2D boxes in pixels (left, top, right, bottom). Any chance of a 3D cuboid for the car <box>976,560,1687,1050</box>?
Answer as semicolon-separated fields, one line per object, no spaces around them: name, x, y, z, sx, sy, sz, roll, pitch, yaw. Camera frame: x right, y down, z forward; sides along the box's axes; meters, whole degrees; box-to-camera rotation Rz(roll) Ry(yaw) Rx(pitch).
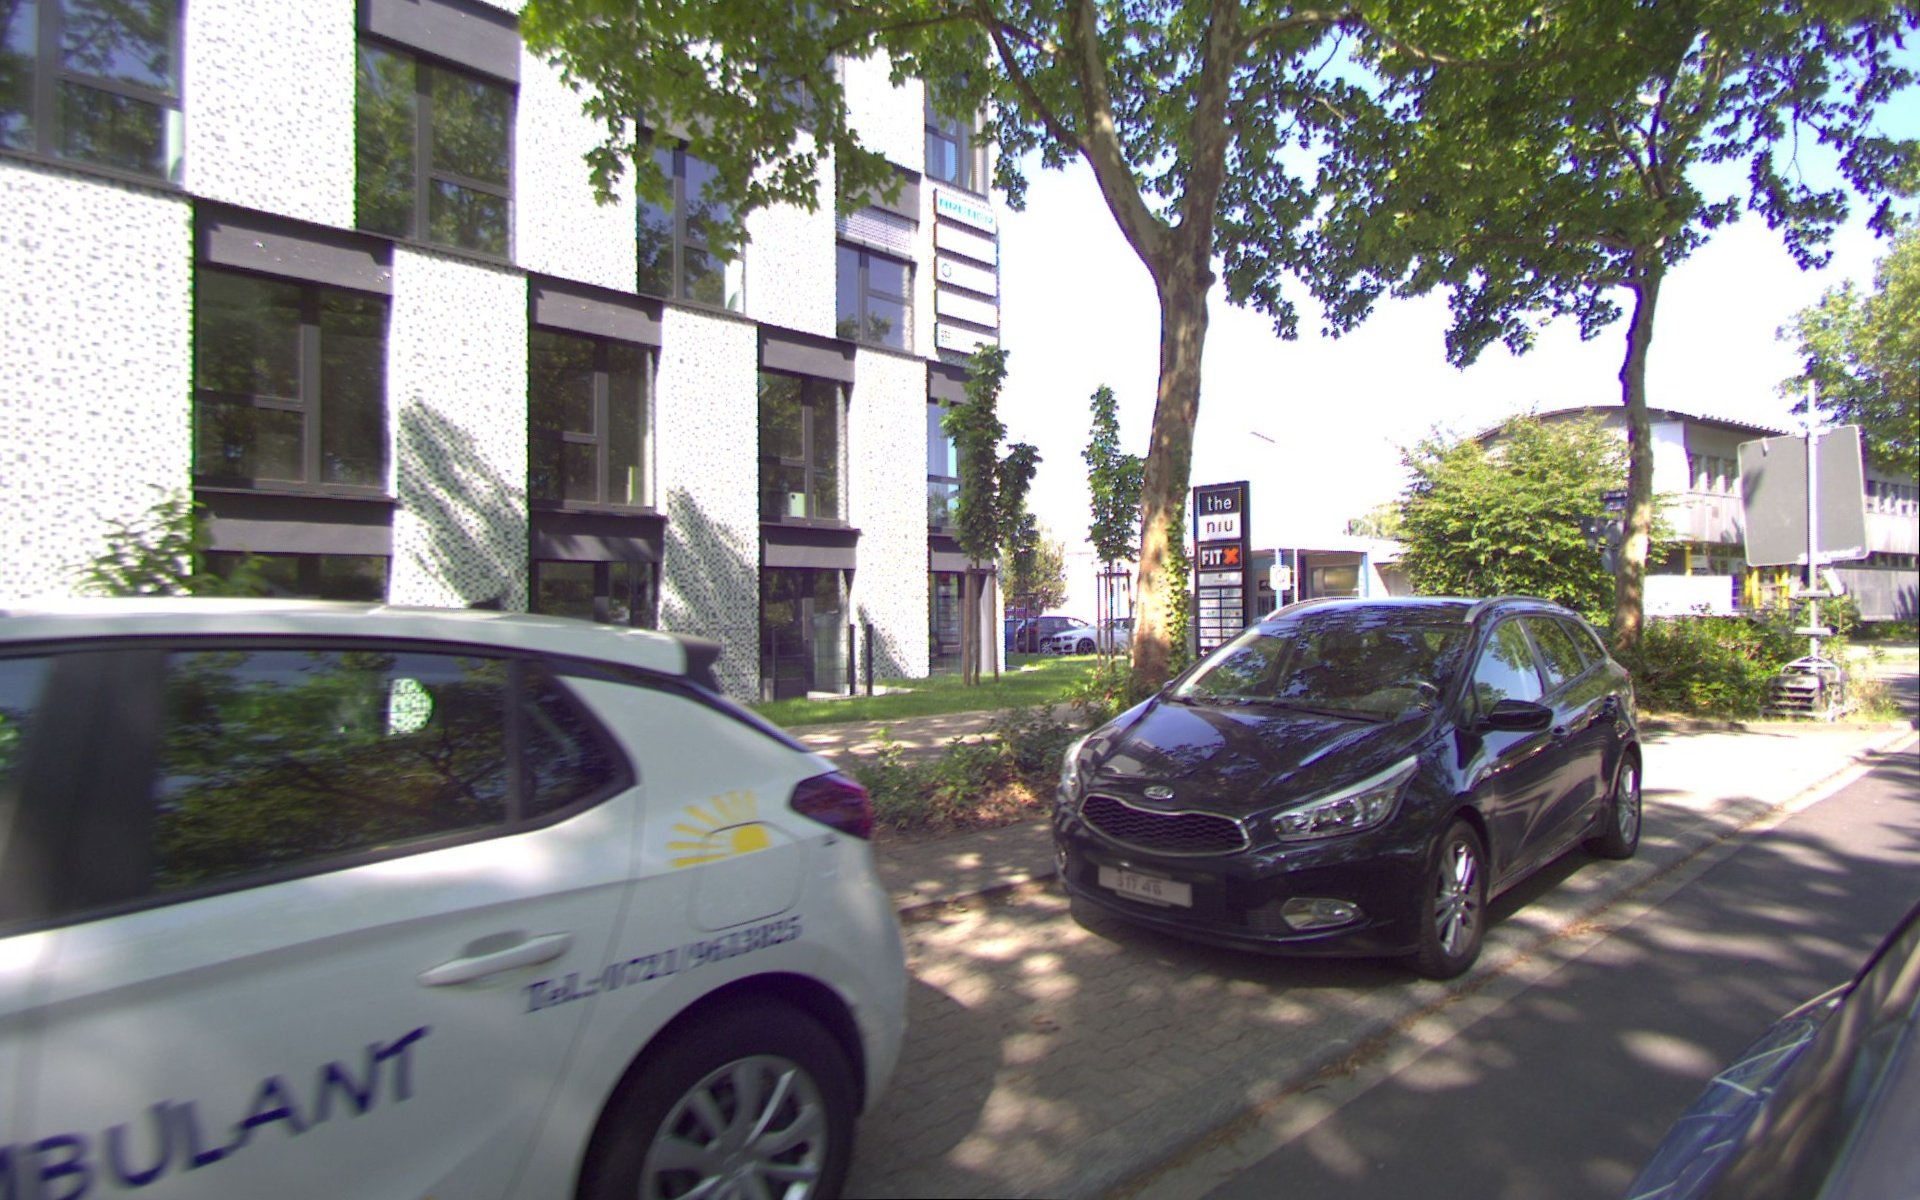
car;2.321;0.628;5.360;4.641;1.506;1.708;0;0;-44

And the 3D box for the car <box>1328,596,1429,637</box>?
car;18.356;0.717;44.521;3.679;1.683;1.680;-1;-1;2

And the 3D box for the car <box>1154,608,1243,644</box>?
car;10.653;1.185;45.517;1.958;1.572;4.006;1;-2;-22

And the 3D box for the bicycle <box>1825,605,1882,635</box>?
bicycle;35.906;0.792;40.705;0.498;1.144;1.679;0;1;-21

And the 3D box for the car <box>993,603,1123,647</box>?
car;3.630;0.950;37.671;4.387;1.572;2.003;1;-2;-22

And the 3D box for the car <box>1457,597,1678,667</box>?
car;14.749;0.769;24.847;1.959;1.537;4.268;0;-1;-25

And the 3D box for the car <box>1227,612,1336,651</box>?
car;12.619;1.224;39.945;1.832;1.416;4.062;-2;-1;-23

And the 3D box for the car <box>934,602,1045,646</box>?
car;1.283;1.046;44.377;4.387;1.876;2.003;0;-2;-22

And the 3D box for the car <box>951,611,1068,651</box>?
car;2.051;1.266;42.021;4.387;1.572;2.003;0;-2;-22

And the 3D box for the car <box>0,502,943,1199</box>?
car;-2.122;0.635;1.643;4.028;1.507;1.710;0;-1;-40

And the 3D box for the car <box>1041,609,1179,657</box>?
car;5.258;1.158;35.558;4.387;1.572;2.003;1;-2;-22
